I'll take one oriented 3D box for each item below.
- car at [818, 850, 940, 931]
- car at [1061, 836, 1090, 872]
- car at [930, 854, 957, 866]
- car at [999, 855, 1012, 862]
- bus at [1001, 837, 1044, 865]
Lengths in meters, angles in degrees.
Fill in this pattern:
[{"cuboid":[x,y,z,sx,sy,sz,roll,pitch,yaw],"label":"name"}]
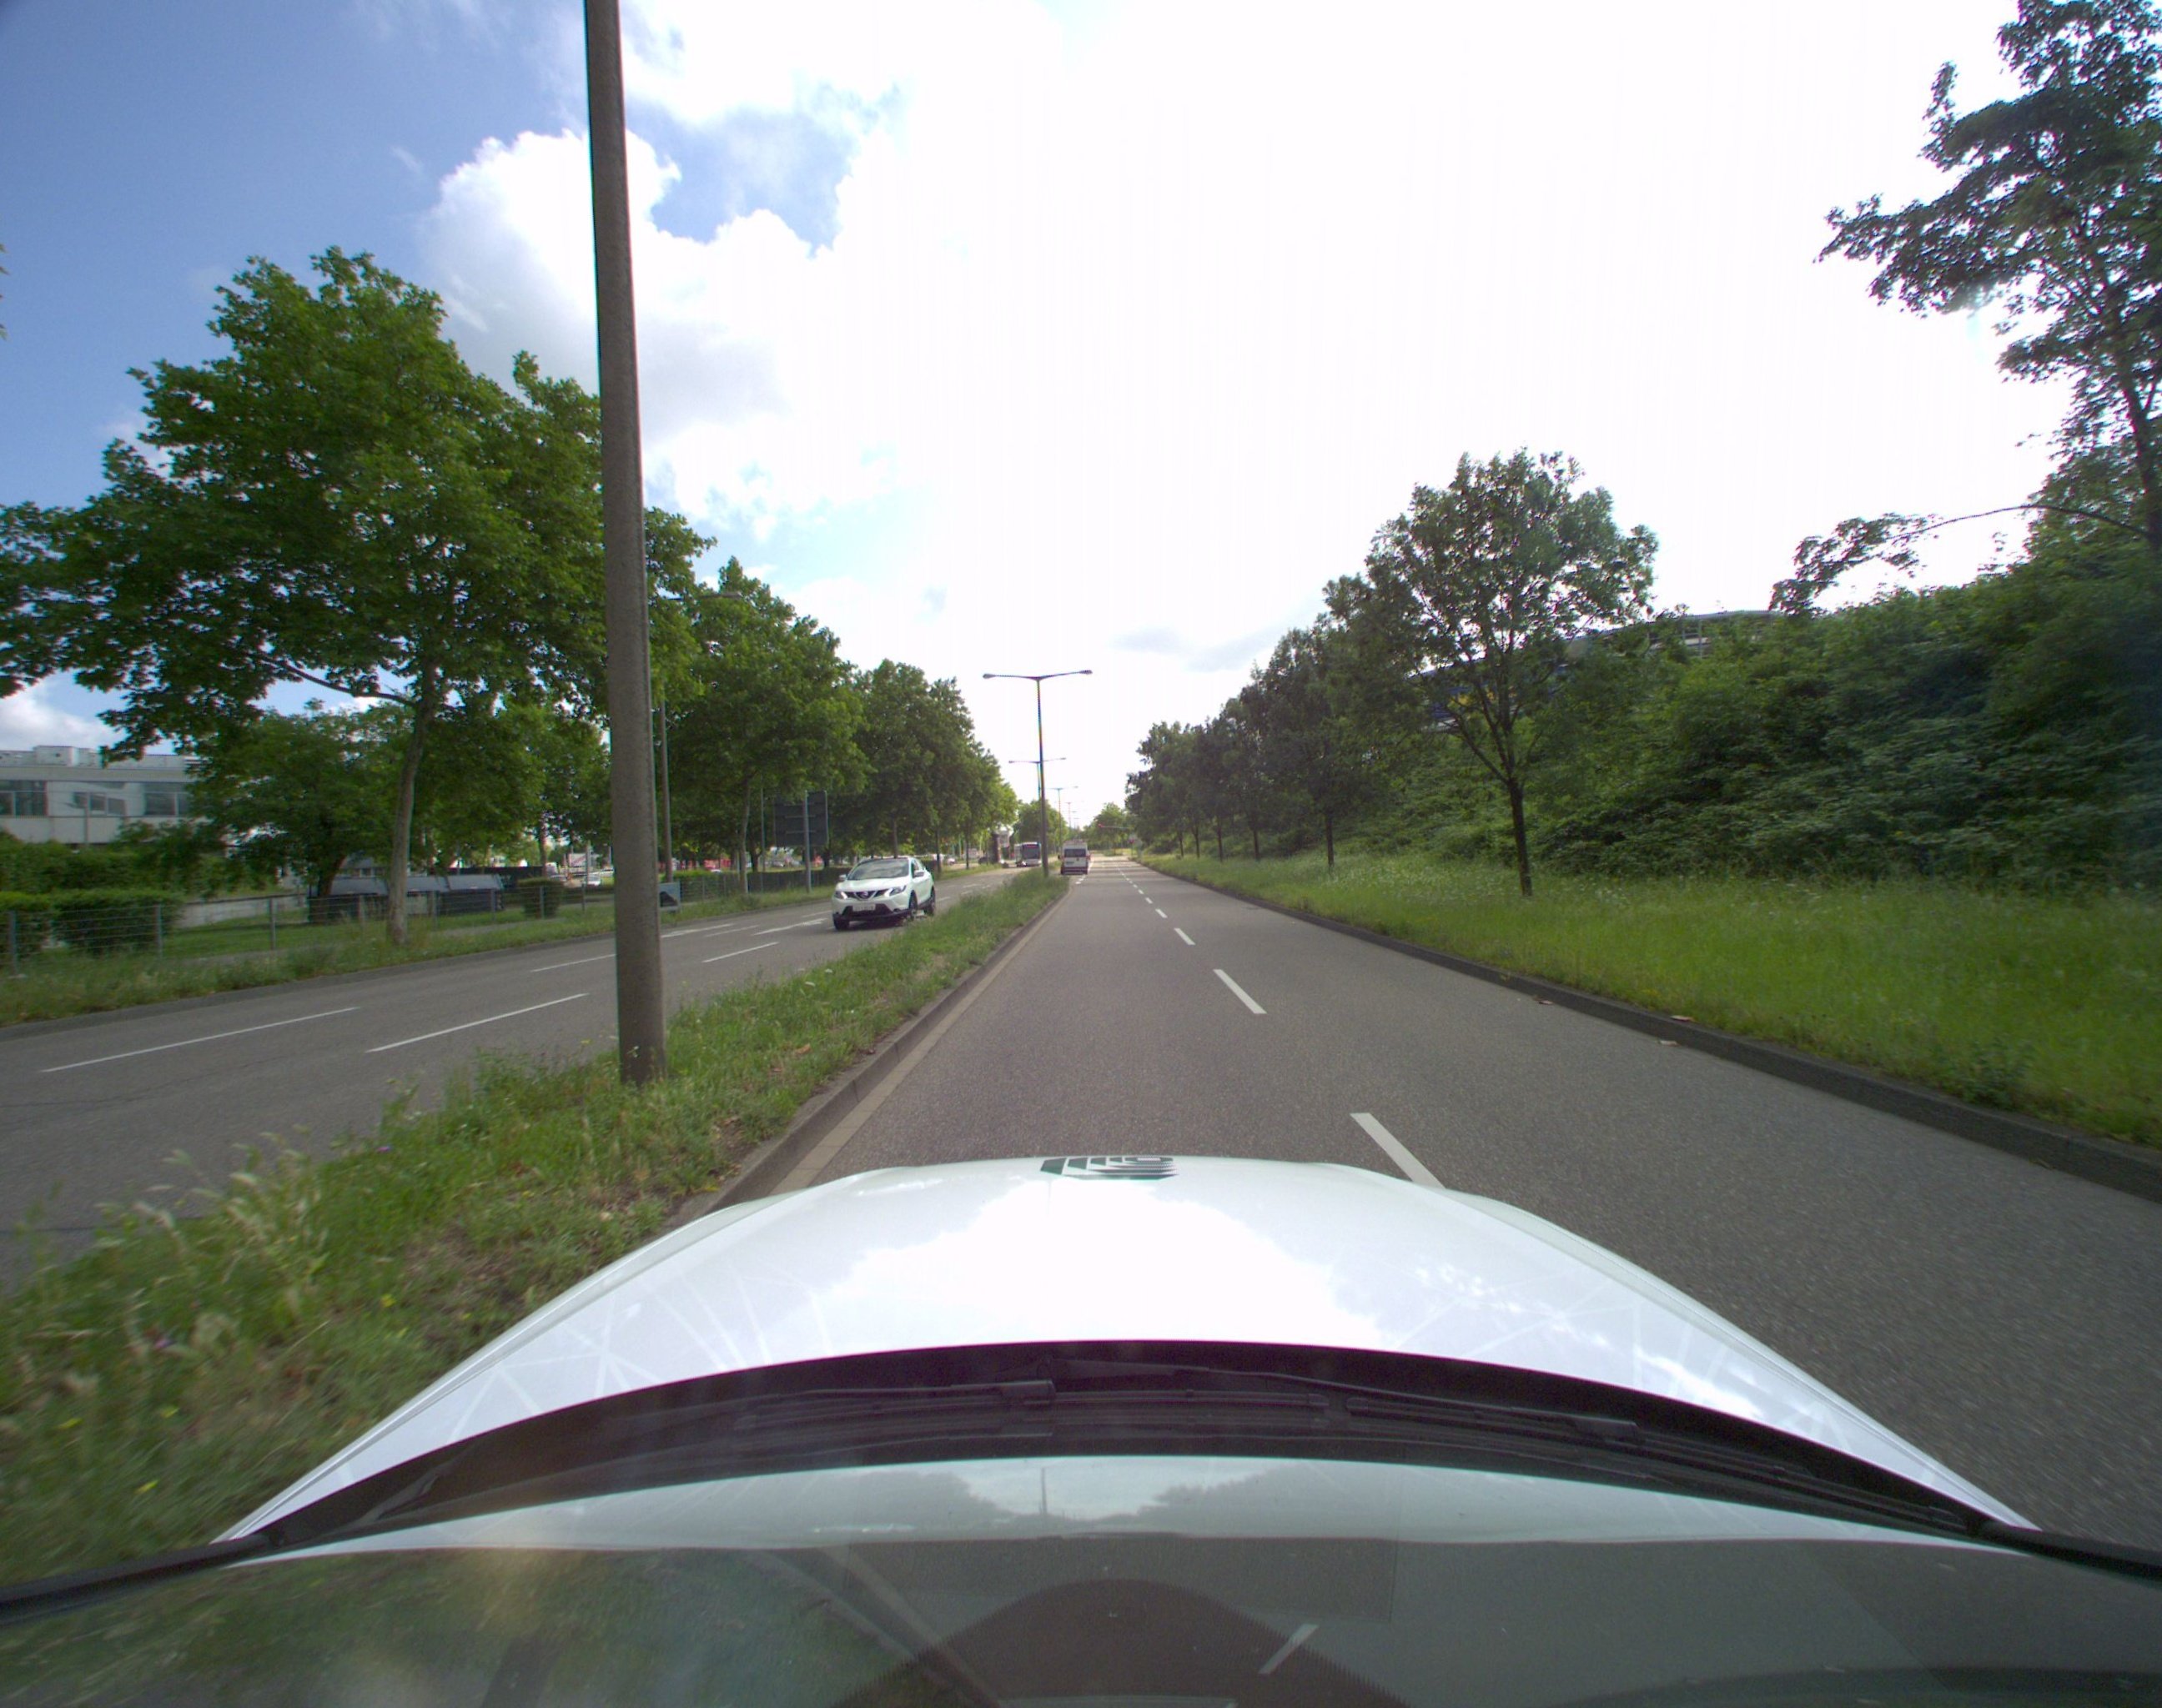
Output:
[{"cuboid":[-4.760,0.786,19.836,1.808,1.640,4.350,-4,0,0],"label":"car"},{"cuboid":[-0.464,0.029,64.599,2.192,2.726,4.927,-1,-1,-2],"label":"car"},{"cuboid":[-23.051,0.960,136.739,4.019,1.838,1.844,1,-4,-38],"label":"car"},{"cuboid":[-11.321,0.706,122.767,1.553,1.041,3.415,-3,0,1],"label":"car"},{"cuboid":[-7.843,-0.283,107.317,3.116,3.274,12.268,-3,0,-16],"label":"bus"}]
